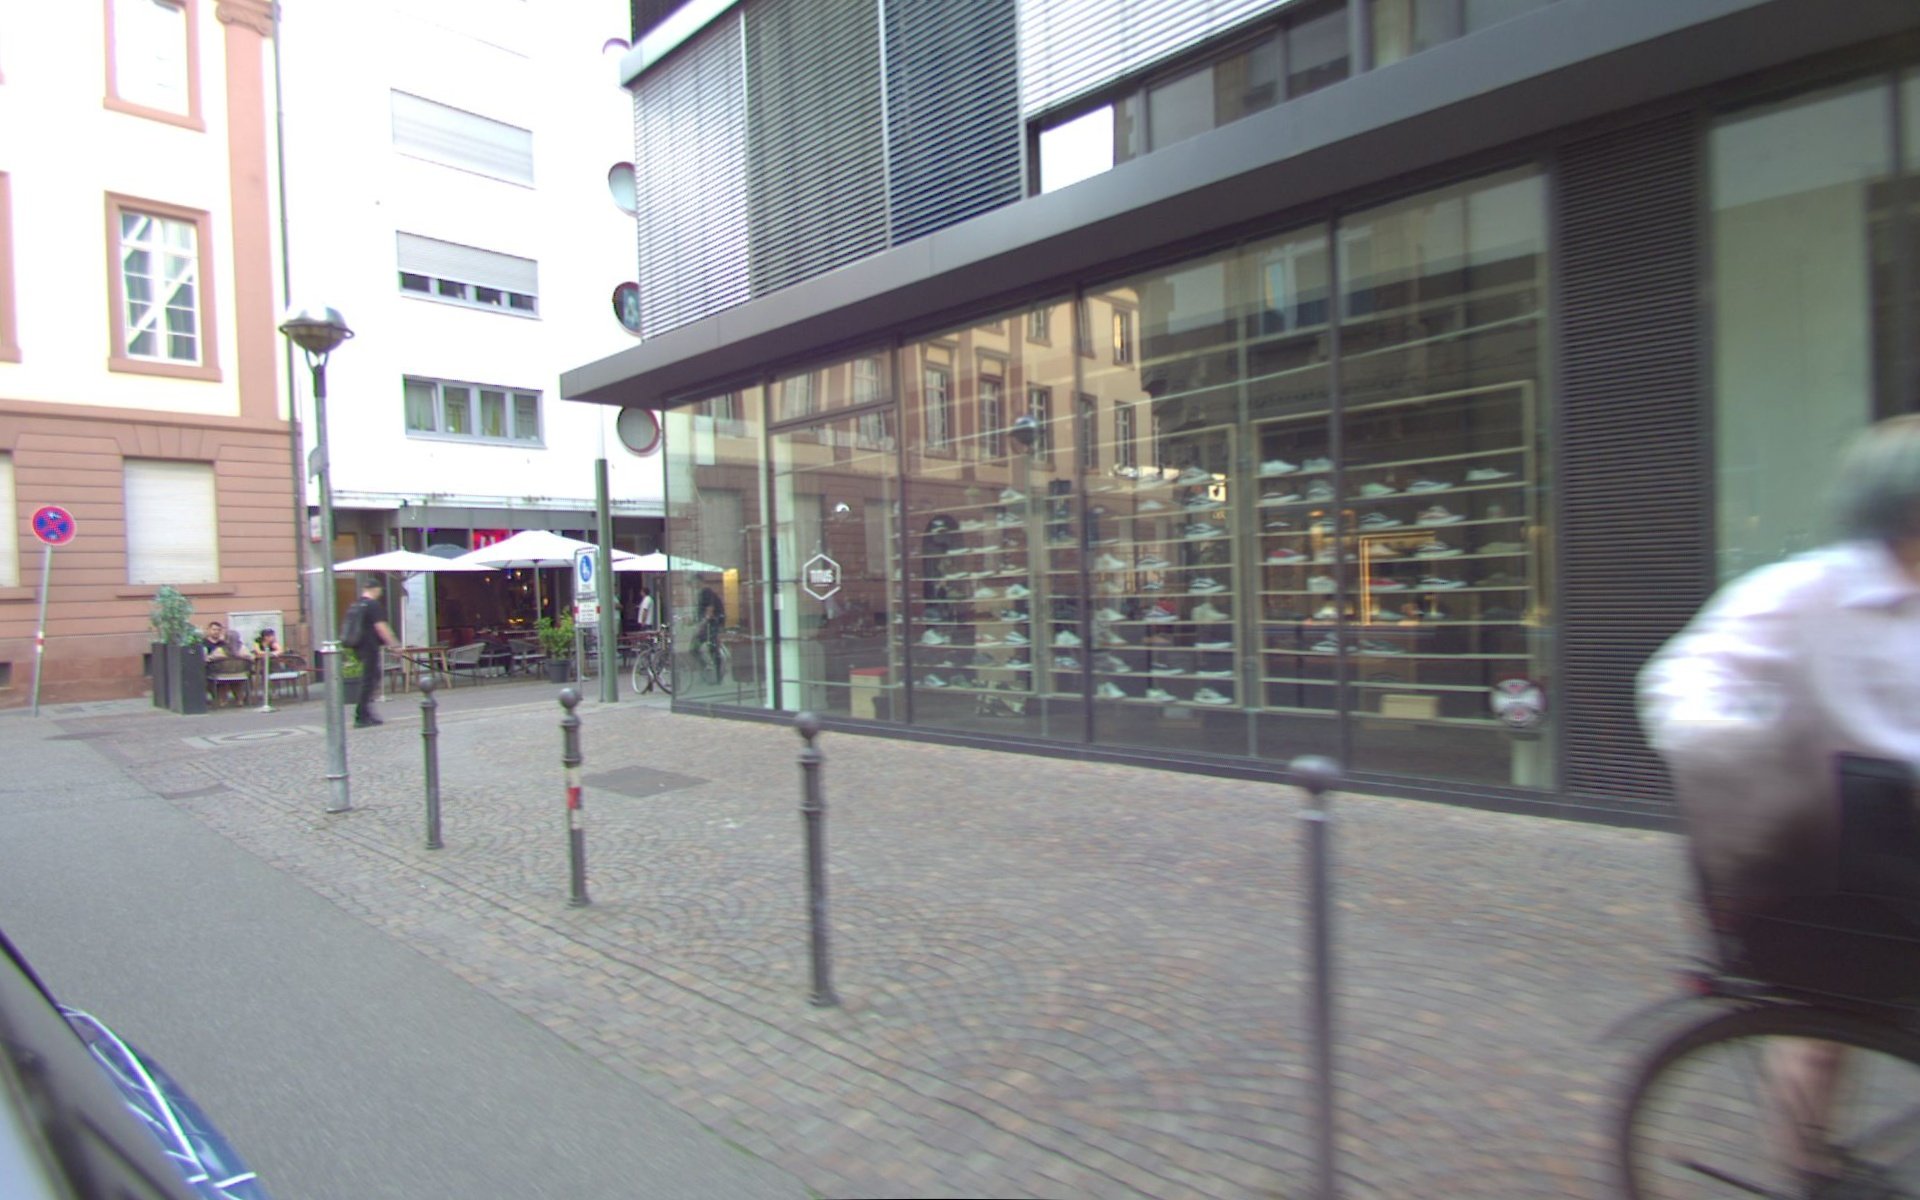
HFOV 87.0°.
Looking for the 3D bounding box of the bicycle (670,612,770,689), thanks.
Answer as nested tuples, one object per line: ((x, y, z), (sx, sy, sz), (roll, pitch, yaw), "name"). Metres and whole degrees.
((-3.903, 0.824, 16.380), (1.841, 1.159, 0.601), (-4, -1, 42), "bicycle")

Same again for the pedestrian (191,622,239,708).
((-12.213, 1.054, 16.590), (0.541, 1.359, 0.489), (-2, 0, -45), "pedestrian")

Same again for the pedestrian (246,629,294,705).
((-11.550, 1.106, 16.935), (0.541, 1.220, 0.524), (-2, 0, -45), "pedestrian")

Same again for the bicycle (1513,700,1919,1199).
((1.807, 0.779, 1.205), (1.915, 1.162, 0.527), (-2, 2, 44), "bicycle")

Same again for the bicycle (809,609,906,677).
((-1.859, 0.775, 18.141), (1.911, 1.153, 0.549), (-3, 0, 42), "bicycle")

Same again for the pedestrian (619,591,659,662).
((-7.778, 0.636, 24.532), (0.619, 1.678, 0.667), (-2, 0, 16), "pedestrian")

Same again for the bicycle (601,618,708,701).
((-4.513, 0.865, 14.884), (1.673, 1.121, 0.699), (-4, -1, 42), "bicycle")

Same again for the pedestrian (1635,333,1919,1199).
((1.770, 0.435, 1.737), (0.582, 1.731, 0.772), (-3, 2, -17), "pedestrian")

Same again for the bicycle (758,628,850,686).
((-2.615, 0.959, 16.865), (1.793, 0.902, 0.448), (-4, -1, 42), "bicycle")

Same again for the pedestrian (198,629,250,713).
((-11.233, 1.072, 15.446), (0.554, 1.221, 0.461), (-2, 0, -45), "pedestrian")

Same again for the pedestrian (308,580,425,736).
((-7.196, 0.669, 12.284), (0.738, 1.798, 0.958), (-2, 0, 33), "pedestrian")
